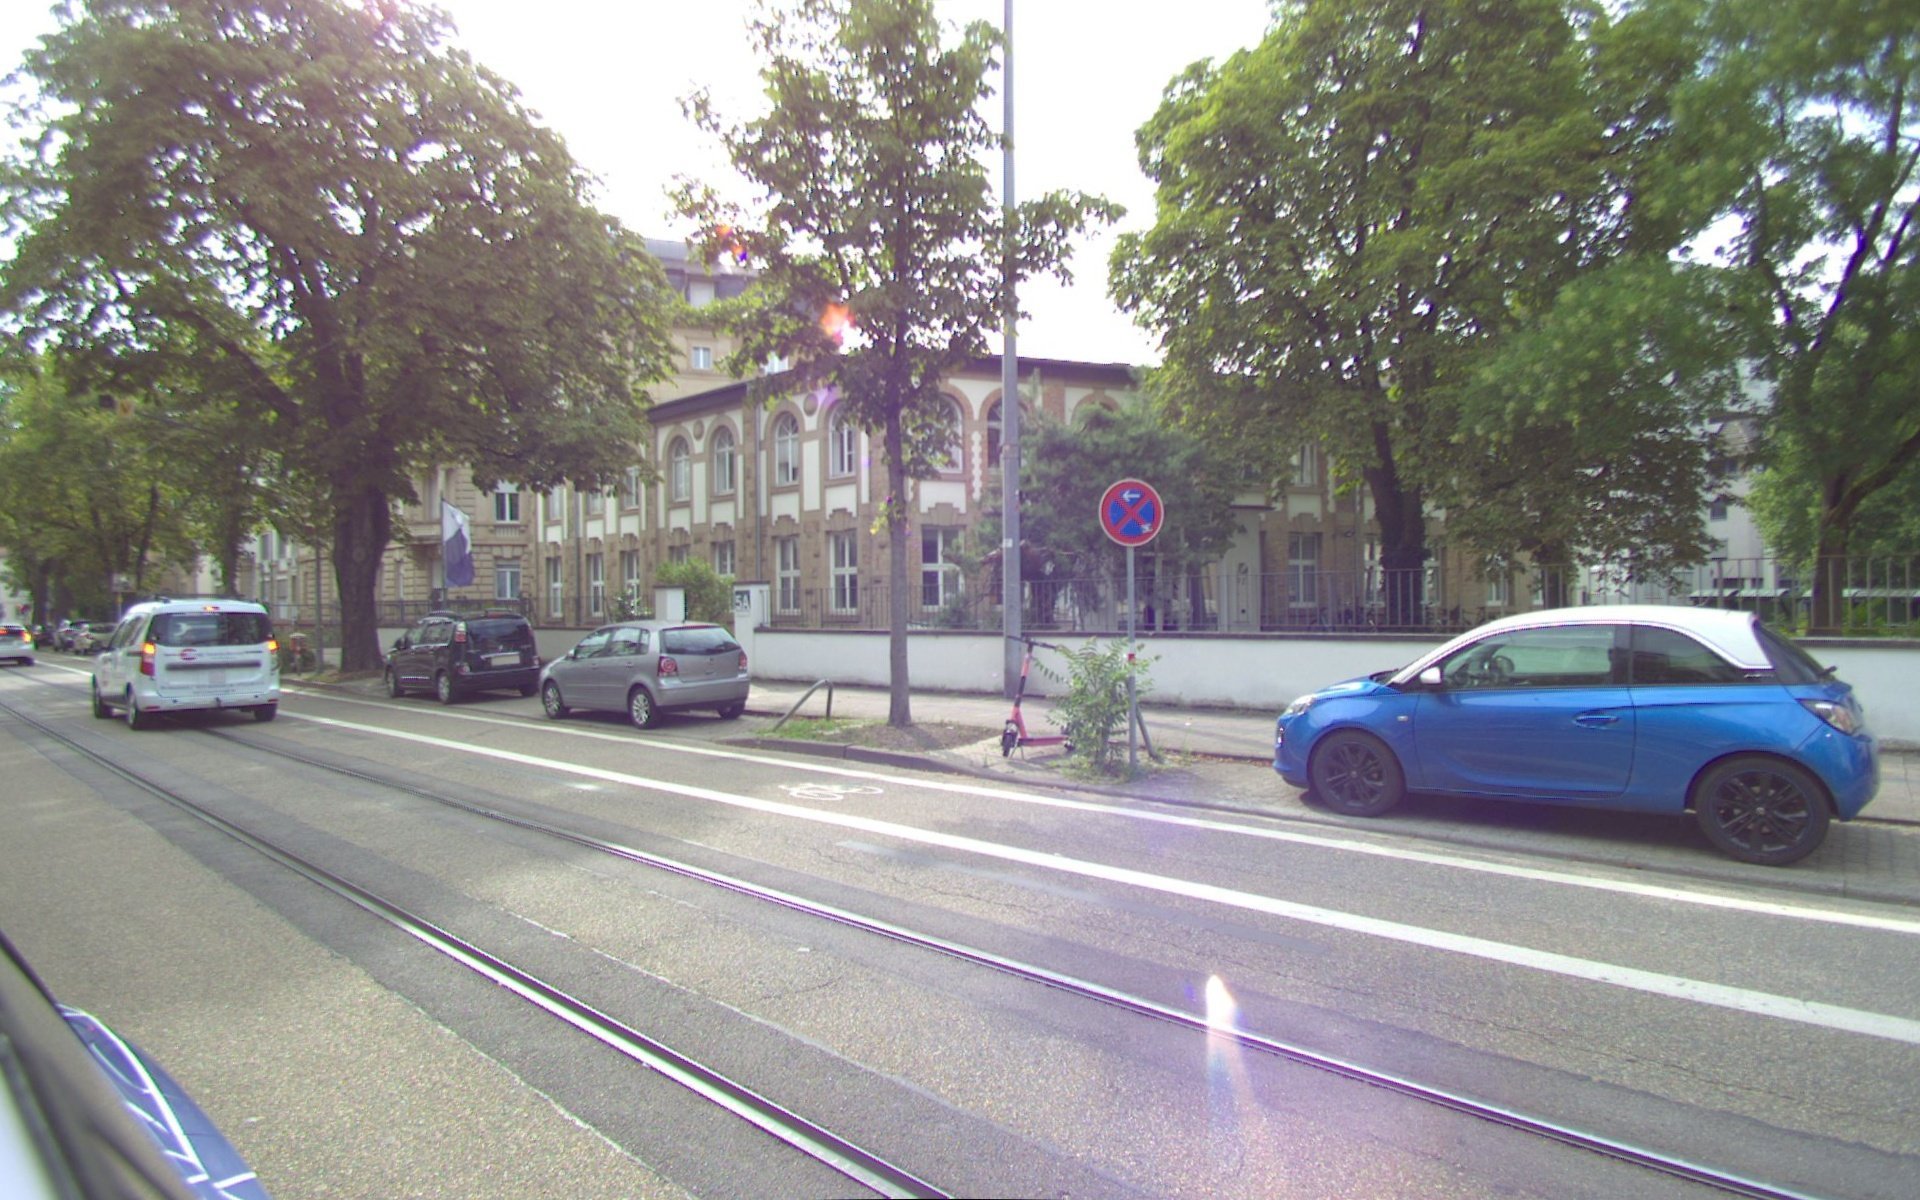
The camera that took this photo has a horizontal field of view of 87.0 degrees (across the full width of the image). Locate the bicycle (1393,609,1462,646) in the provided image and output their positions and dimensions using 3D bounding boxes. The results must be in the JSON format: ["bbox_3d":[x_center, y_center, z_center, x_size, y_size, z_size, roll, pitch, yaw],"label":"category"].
[{"bbox_3d":[13.917,0.797,30.194,0.584,1.051,1.984,-1,0,-23],"label":"bicycle"}]

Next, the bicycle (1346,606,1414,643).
[{"bbox_3d":[12.314,0.704,29.709,0.584,1.051,1.984,-1,0,-23],"label":"bicycle"}]

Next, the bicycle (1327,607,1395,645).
[{"bbox_3d":[11.617,0.728,29.378,0.584,1.051,1.984,-1,0,-23],"label":"bicycle"}]

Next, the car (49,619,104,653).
[{"bbox_3d":[-45.905,1.855,52.569,3.904,1.646,1.637,-2,-1,41],"label":"car"}]

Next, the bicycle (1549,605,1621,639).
[{"bbox_3d":[20.068,0.685,32.551,0.584,1.051,1.984,-1,0,-23],"label":"bicycle"}]

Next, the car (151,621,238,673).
[{"bbox_3d":[-26.226,1.565,34.650,3.904,1.646,1.637,-2,-1,41],"label":"car"}]

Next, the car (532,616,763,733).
[{"bbox_3d":[-4.638,1.000,14.803,3.572,1.476,1.611,-2,-1,41],"label":"car"}]

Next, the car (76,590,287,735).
[{"bbox_3d":[-11.877,0.851,15.329,4.376,1.898,1.714,-2,-1,41],"label":"car"}]

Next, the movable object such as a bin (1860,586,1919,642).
[{"bbox_3d":[24.813,0.364,26.637,1.103,1.441,1.288,0,0,-21],"label":"movable object such as a bin"}]

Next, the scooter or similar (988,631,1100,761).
[{"bbox_3d":[0.840,0.929,10.080,0.988,1.176,0.370,-3,0,-24],"label":"scooter or similar"}]

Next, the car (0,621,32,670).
[{"bbox_3d":[-33.462,1.560,34.923,4.333,1.624,1.714,-1,-2,42],"label":"car"}]

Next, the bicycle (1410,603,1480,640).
[{"bbox_3d":[14.611,0.641,30.531,0.584,1.051,1.984,-1,0,-23],"label":"bicycle"}]

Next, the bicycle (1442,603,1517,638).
[{"bbox_3d":[16.135,0.624,31.490,1.978,1.051,0.586,-1,0,44],"label":"bicycle"}]

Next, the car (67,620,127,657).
[{"bbox_3d":[-40.574,1.792,47.556,3.904,1.646,1.637,-2,-1,41],"label":"car"}]

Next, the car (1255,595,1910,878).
[{"bbox_3d":[4.131,0.745,7.102,3.601,1.476,1.611,-2,-1,41],"label":"car"}]

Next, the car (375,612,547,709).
[{"bbox_3d":[-9.526,1.078,19.220,3.724,1.646,1.637,-2,-1,41],"label":"car"}]

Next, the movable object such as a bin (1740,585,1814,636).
[{"bbox_3d":[23.734,0.286,29.421,1.103,1.441,1.288,0,0,-21],"label":"movable object such as a bin"}]

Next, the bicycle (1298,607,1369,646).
[{"bbox_3d":[10.739,0.747,29.144,0.584,1.051,1.984,-1,0,-30],"label":"bicycle"}]

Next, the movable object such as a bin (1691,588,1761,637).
[{"bbox_3d":[23.227,0.382,30.719,1.103,1.441,1.288,0,0,-21],"label":"movable object such as a bin"}]

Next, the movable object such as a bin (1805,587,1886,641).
[{"bbox_3d":[24.440,0.368,27.958,1.103,1.441,1.288,0,0,-21],"label":"movable object such as a bin"}]

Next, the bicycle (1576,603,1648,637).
[{"bbox_3d":[21.286,0.638,33.099,0.584,1.051,1.984,-1,0,-23],"label":"bicycle"}]

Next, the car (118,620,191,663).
[{"bbox_3d":[-32.497,1.654,40.793,3.904,1.613,1.637,-2,-1,41],"label":"car"}]
